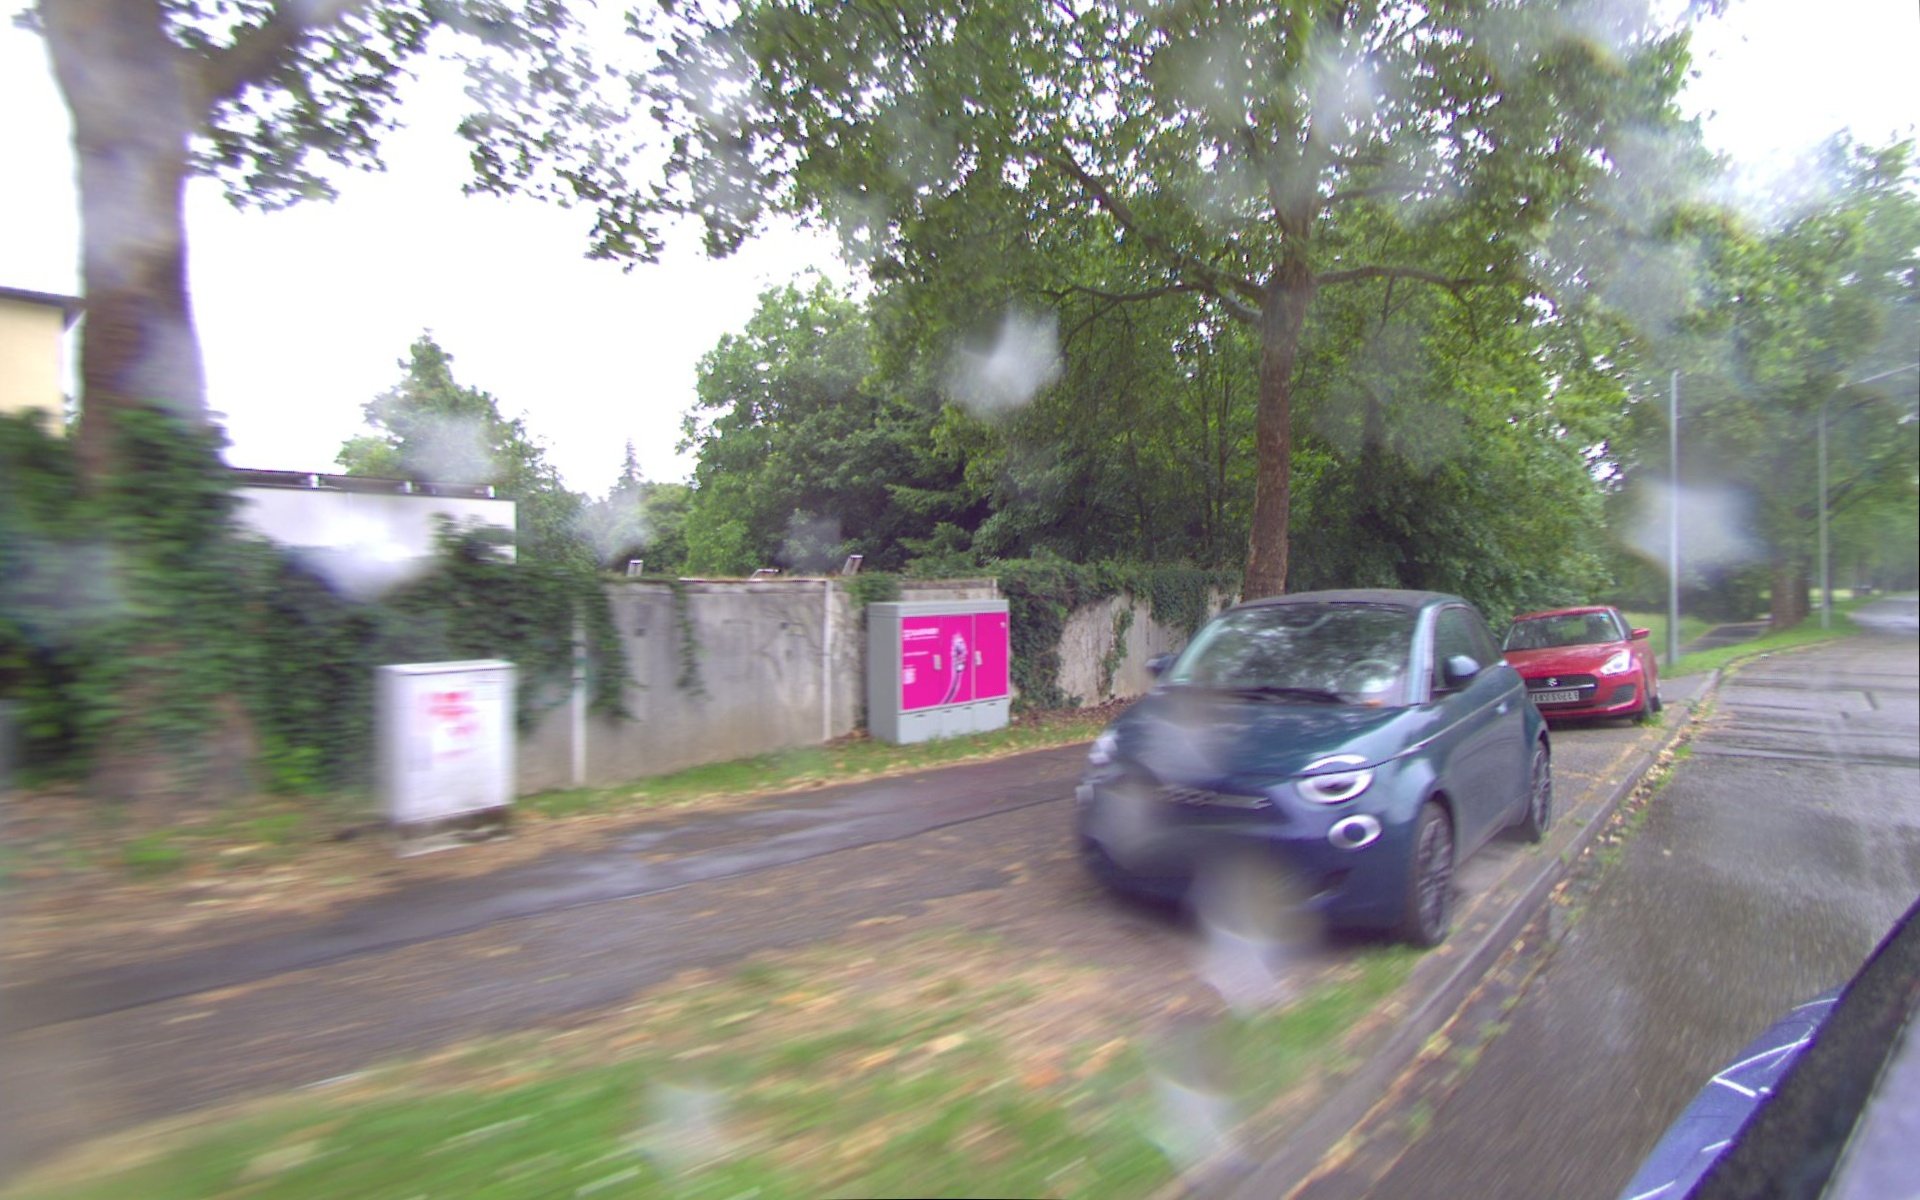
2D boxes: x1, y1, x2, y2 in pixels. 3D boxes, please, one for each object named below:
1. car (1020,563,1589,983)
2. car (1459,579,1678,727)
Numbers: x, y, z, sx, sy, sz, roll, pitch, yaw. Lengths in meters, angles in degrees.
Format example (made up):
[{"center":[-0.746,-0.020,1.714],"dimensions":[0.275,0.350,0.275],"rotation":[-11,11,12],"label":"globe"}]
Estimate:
[{"center":[2.111,0.633,5.585],"dimensions":[1.747,1.511,3.547],"rotation":[-3,-1,40],"label":"car"},{"center":[7.878,0.682,12.959],"dimensions":[1.814,1.538,3.690],"rotation":[-9,-7,38],"label":"car"}]
